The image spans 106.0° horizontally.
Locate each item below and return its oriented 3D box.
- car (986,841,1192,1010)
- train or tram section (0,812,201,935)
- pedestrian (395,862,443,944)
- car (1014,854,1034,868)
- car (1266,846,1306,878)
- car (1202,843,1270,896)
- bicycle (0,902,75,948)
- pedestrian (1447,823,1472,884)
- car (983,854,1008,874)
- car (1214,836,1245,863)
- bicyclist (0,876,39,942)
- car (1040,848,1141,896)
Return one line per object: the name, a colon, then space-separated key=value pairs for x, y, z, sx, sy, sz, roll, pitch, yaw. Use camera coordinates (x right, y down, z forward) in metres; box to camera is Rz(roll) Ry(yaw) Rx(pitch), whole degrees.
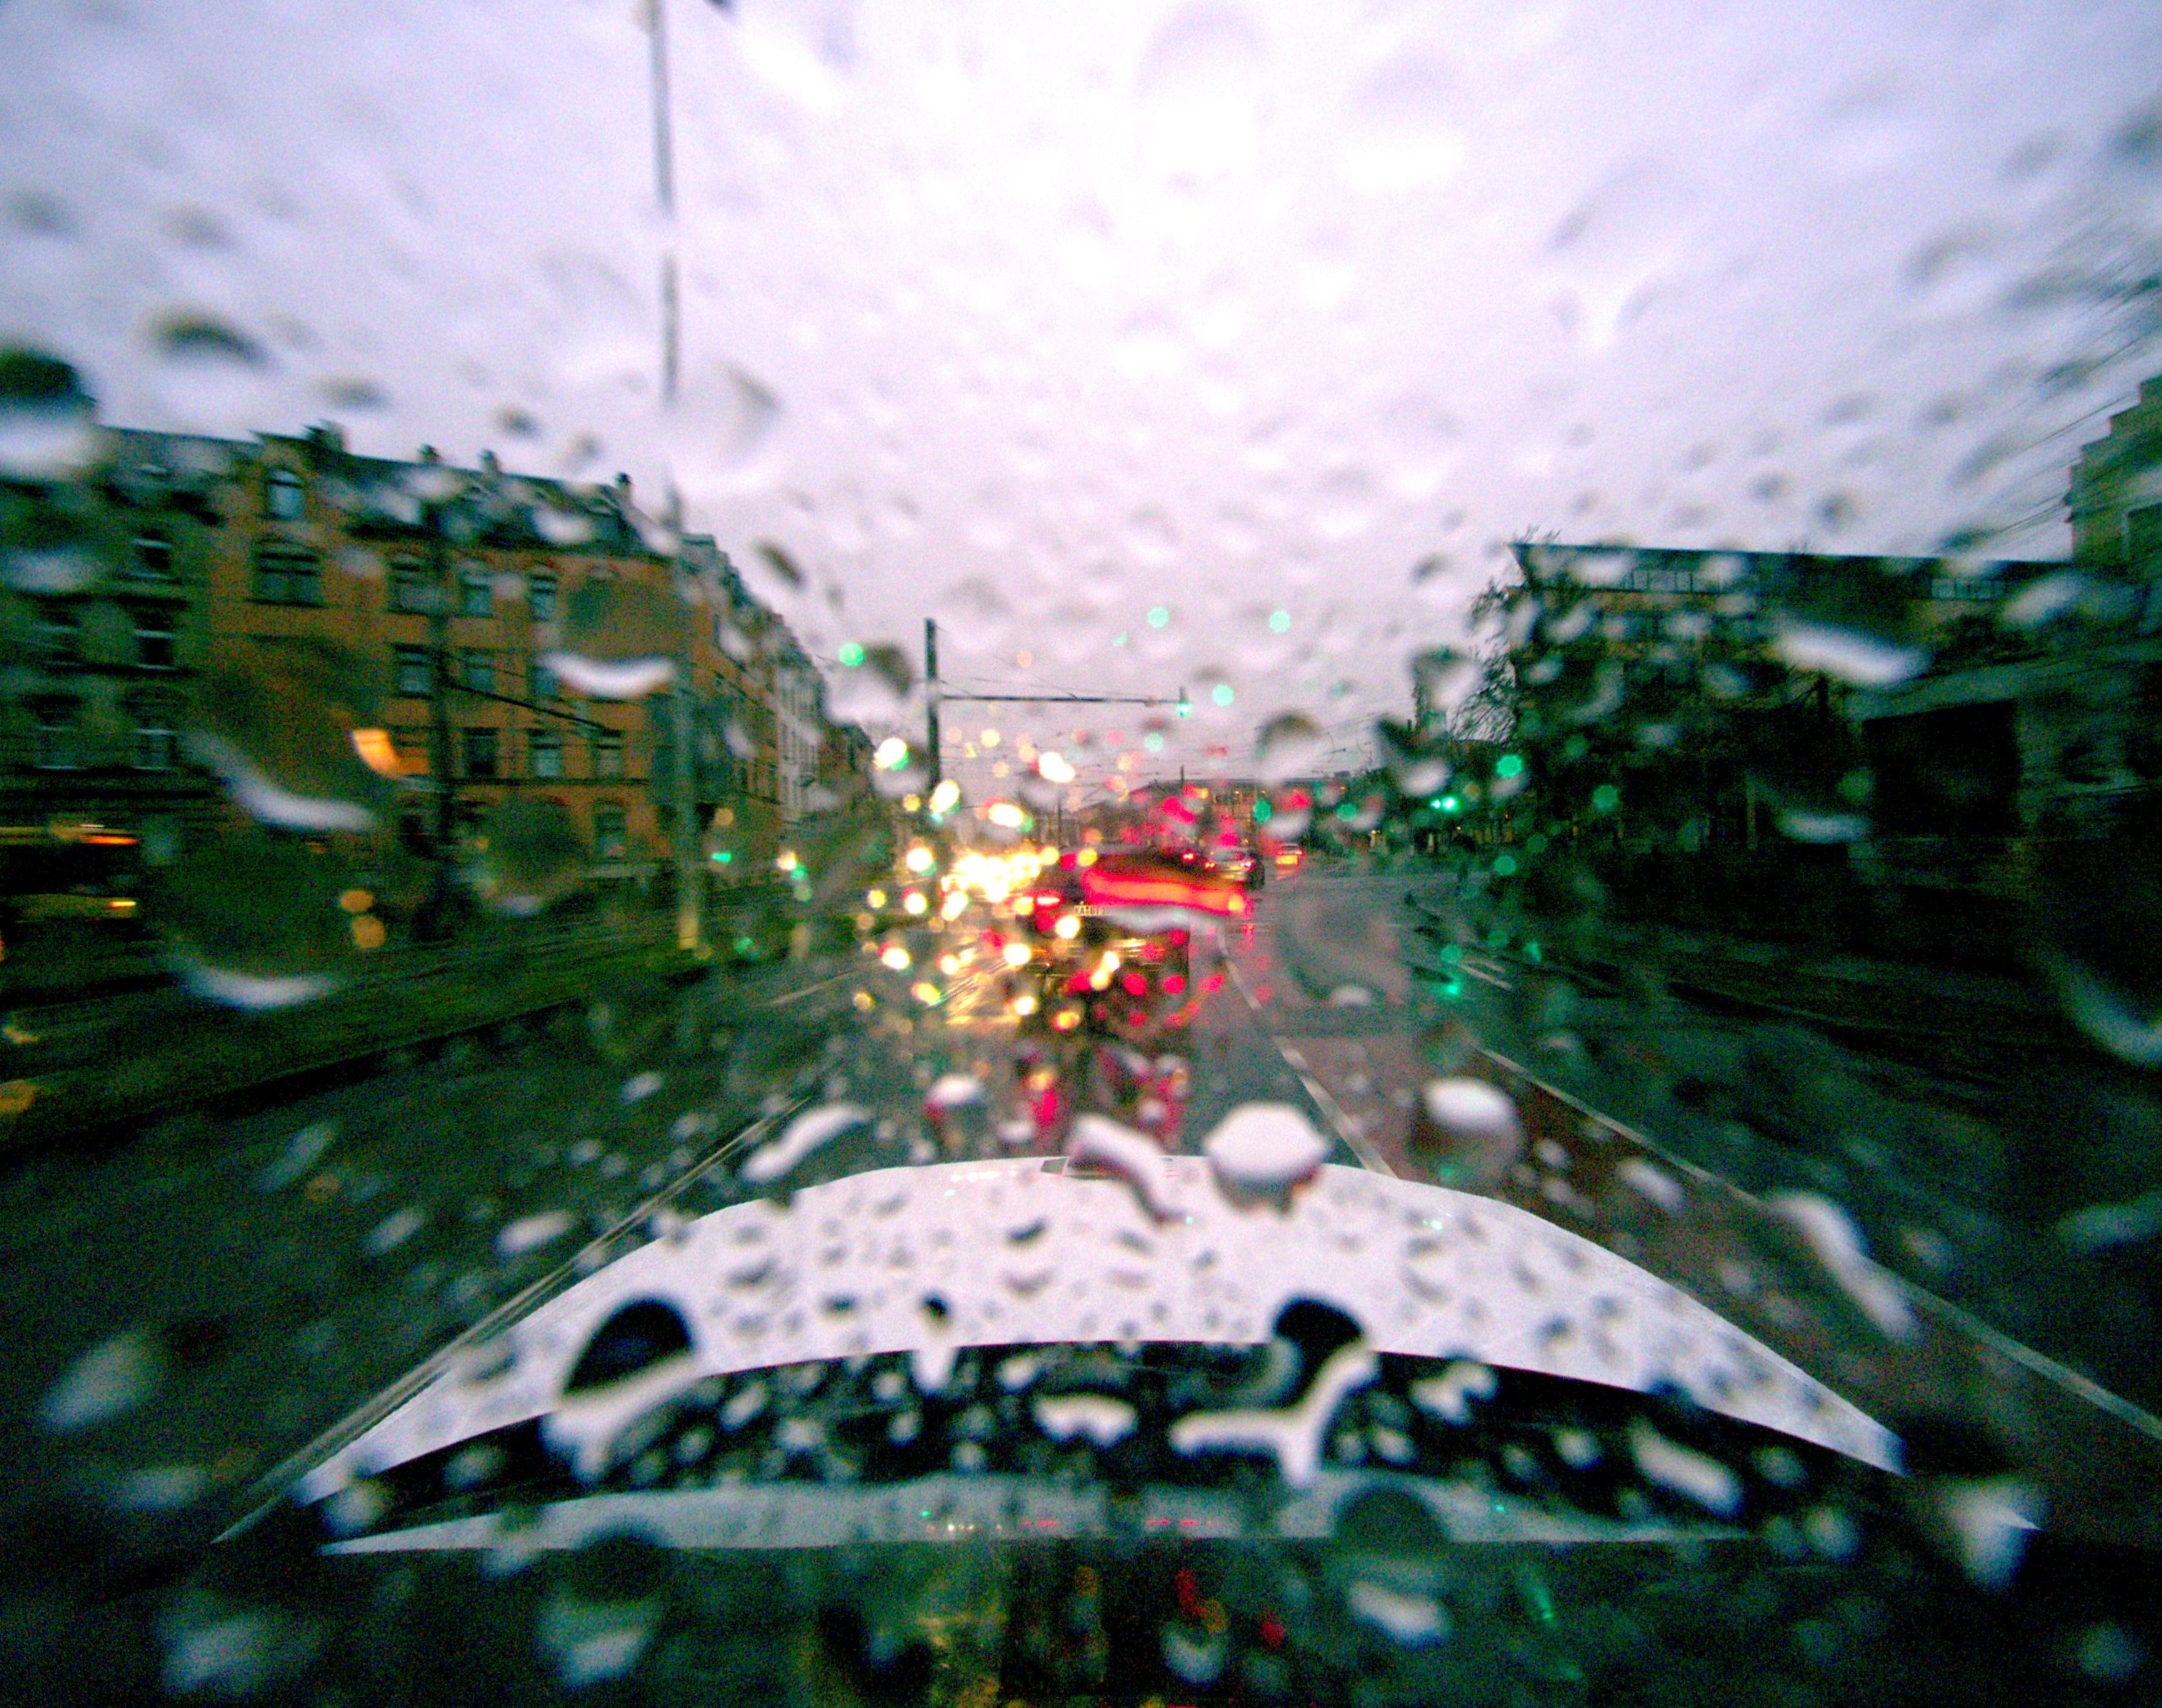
car: x=0.148 y=0.688 z=10.062 sx=1.983 sy=1.616 sz=4.002 roll=-2 pitch=0 yaw=2
train or tram section: x=-33.946 y=0.542 z=20.587 sx=16.303 sy=3.188 sz=3.149 roll=0 pitch=0 yaw=-19
pedestrian: x=-14.499 y=1.060 z=17.843 sx=0.464 sy=1.772 sz=0.631 roll=-1 pitch=0 yaw=12
car: x=-5.508 y=0.688 z=78.259 sx=1.536 sy=1.245 sz=4.074 roll=-2 pitch=1 yaw=-9
car: x=12.773 y=0.468 z=50.579 sx=1.977 sy=1.765 sz=4.020 roll=-2 pitch=0 yaw=19
car: x=5.766 y=0.525 z=29.879 sx=1.978 sy=1.765 sz=4.018 roll=-2 pitch=0 yaw=17
bicycle: x=-23.229 y=1.556 z=17.462 sx=1.994 sy=0.900 sz=0.501 roll=-1 pitch=1 yaw=-37
pedestrian: x=11.678 y=-0.016 z=25.133 sx=0.568 sy=1.838 sz=0.686 roll=-2 pitch=2 yaw=18
car: x=-6.536 y=0.740 z=62.739 sx=1.676 sy=1.457 sz=4.058 roll=-2 pitch=0 yaw=-3
car: x=10.475 y=-0.309 z=57.351 sx=1.980 sy=1.765 sz=4.014 roll=-2 pitch=0 yaw=12
bicyclist: x=-23.230 y=1.185 z=17.463 sx=0.974 sy=1.390 sz=0.501 roll=-1 pitch=1 yaw=-37
car: x=0.401 y=0.559 z=26.999 sx=1.976 sy=1.398 sz=4.022 roll=-2 pitch=1 yaw=22
